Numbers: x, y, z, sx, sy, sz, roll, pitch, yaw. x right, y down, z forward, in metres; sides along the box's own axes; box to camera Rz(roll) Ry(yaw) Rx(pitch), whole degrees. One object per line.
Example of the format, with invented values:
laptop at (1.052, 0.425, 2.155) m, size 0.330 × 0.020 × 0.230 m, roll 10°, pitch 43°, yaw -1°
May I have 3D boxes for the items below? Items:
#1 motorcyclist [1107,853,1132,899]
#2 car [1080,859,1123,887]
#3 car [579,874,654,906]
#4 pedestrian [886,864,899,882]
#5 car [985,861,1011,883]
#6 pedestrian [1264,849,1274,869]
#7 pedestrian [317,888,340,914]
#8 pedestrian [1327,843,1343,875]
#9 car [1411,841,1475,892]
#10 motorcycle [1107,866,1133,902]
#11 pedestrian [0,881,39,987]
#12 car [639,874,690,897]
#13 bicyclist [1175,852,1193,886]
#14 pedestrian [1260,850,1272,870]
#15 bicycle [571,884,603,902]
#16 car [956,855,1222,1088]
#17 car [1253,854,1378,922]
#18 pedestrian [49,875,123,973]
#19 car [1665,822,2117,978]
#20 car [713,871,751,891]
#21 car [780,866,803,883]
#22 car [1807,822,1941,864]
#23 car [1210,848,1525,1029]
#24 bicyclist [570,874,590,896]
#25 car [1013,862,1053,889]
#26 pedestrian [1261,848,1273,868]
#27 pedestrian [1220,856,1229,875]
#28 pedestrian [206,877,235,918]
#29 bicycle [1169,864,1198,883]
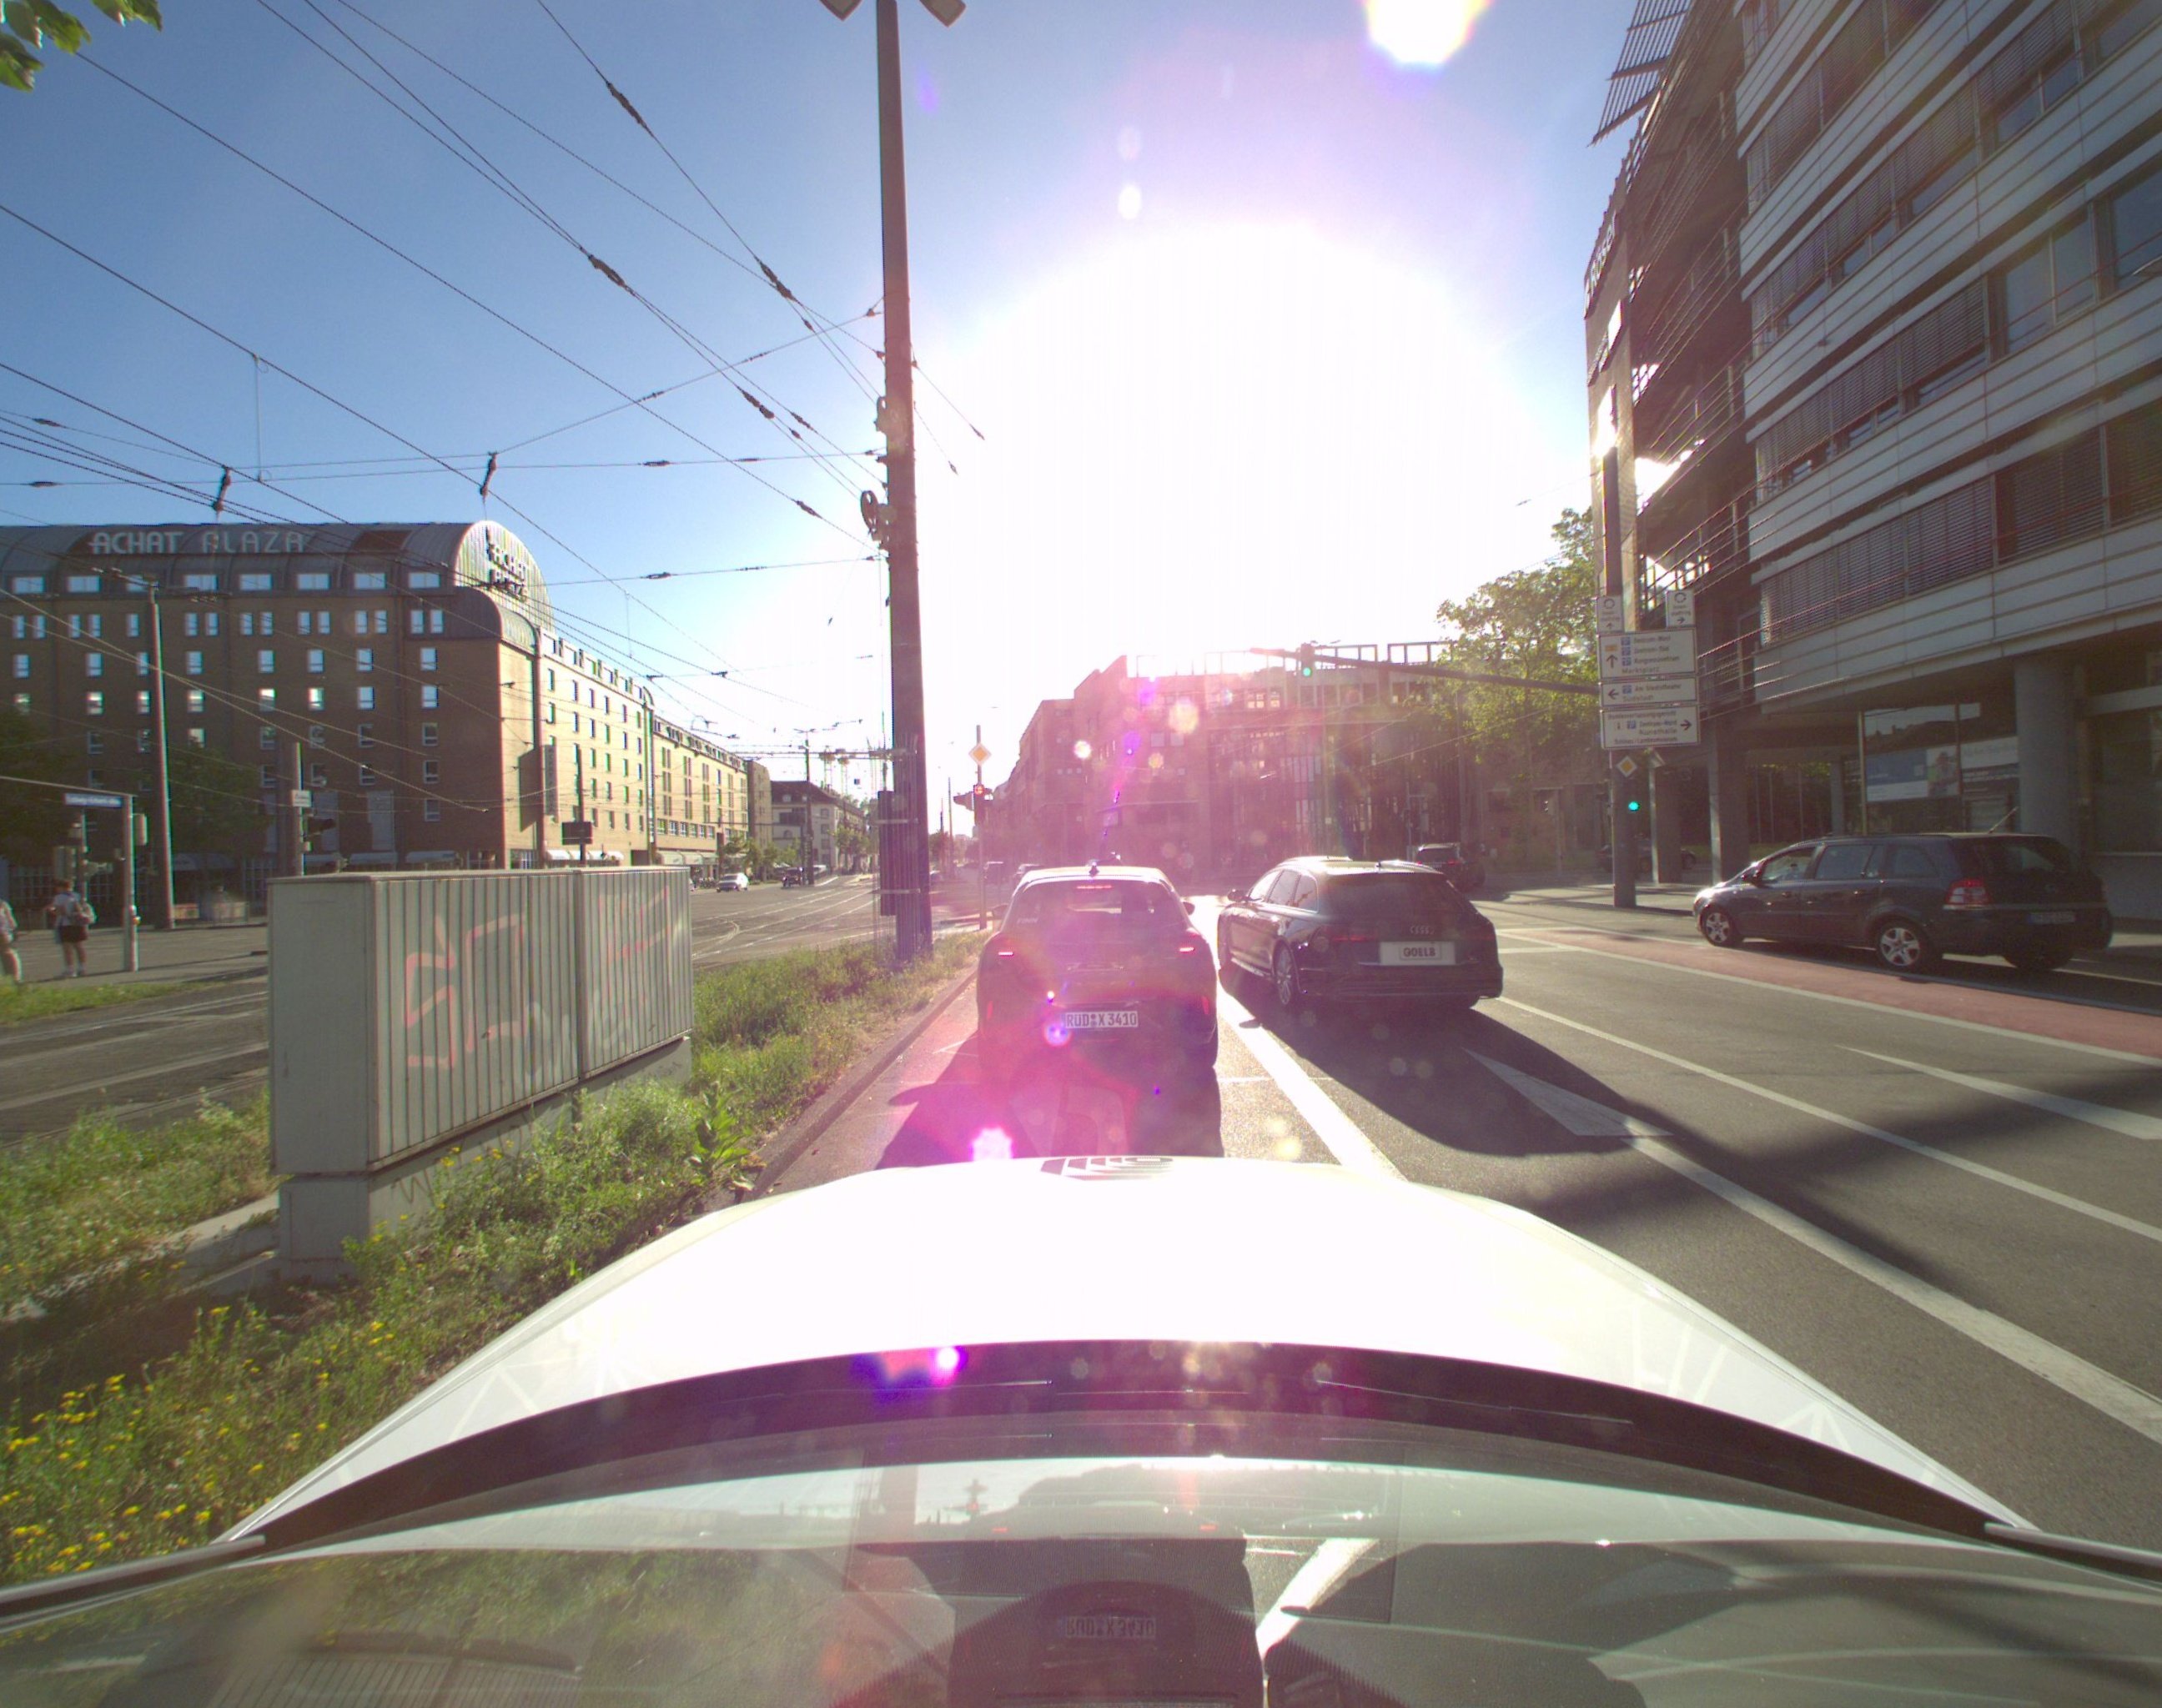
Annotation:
motorcyclist at (1.310, 0.729, 27.679) m, size 0.741 × 1.530 × 1.022 m, roll -2°, pitch 0°, yaw 4°
car at (1.104, 1.027, 45.349) m, size 1.806 × 1.457 × 3.989 m, roll -1°, pitch 0°, yaw -8°
car at (-26.301, 2.008, 46.342) m, size 1.992 × 1.596 × 4.726 m, roll -2°, pitch 0°, yaw -8°
pedestrian at (-17.656, 1.756, 76.267) m, size 0.735 × 1.640 × 0.772 m, roll -2°, pitch -1°, yaw 41°
car at (-6.618, 1.374, 64.495) m, size 1.737 × 1.651 × 3.987 m, roll -2°, pitch 0°, yaw -9°
pedestrian at (15.905, 0.436, 68.743) m, size 0.733 × 1.617 × 0.562 m, roll -2°, pitch 0°, yaw 10°
pedestrian at (-44.605, 2.788, 48.263) m, size 0.674 × 1.503 × 0.659 m, roll -2°, pitch 0°, yaw -1°
pedestrian at (14.145, 0.276, 45.318) m, size 0.700 × 1.759 × 0.564 m, roll -2°, pitch 0°, yaw 27°
car at (13.546, 0.438, 30.709) m, size 1.976 × 1.750 × 4.352 m, roll -2°, pitch 0°, yaw 22°
motorcycle at (1.335, 1.012, 27.880) m, size 0.771 × 1.115 × 1.972 m, roll -2°, pitch 0°, yaw 5°
pedestrian at (-19.302, 1.425, 14.481) m, size 0.630 × 1.830 × 0.662 m, roll -2°, pitch 0°, yaw -5°
car at (-30.044, 2.268, 58.882) m, size 1.719 × 1.422 × 4.139 m, roll -4°, pitch 0°, yaw -4°
bicyclist at (5.538, 0.817, 43.845) m, size 0.579 × 1.791 × 0.857 m, roll -2°, pitch 0°, yaw -21°
pedestrian at (15.271, 0.455, 67.294) m, size 0.894 × 1.617 × 0.562 m, roll -2°, pitch 0°, yaw 10°
bicycle at (-32.956, 2.599, 54.373) m, size 0.649 × 1.085 × 2.920 m, roll -2°, pitch 0°, yaw -6°
car at (0.157, 0.754, 7.164) m, size 1.642 × 1.433 × 4.003 m, roll -2°, pitch 0°, yaw 3°
car at (5.499, 0.734, 19.631) m, size 1.802 × 1.457 × 3.998 m, roll -1°, pitch 0°, yaw -1°
pedestrian at (-19.220, 1.337, 15.749) m, size 0.562 × 1.817 × 0.662 m, roll -2°, pitch 0°, yaw -5°
car at (10.310, 0.501, 10.991) m, size 1.682 × 1.629 × 4.463 m, roll -2°, pitch 0°, yaw 1°
car at (-28.997, 2.206, 67.765) m, size 1.569 × 1.449 × 3.996 m, roll -2°, pitch 0°, yaw -3°
car at (-28.190, 1.990, 79.358) m, size 1.748 × 1.505 × 3.860 m, roll -2°, pitch 0°, yaw -15°
car at (32.670, -0.431, 33.607) m, size 3.981 × 1.651 × 1.861 m, roll -1°, pitch 0°, yaw -6°
car at (2.786, 0.729, 9.136) m, size 1.806 × 1.492 × 4.492 m, roll -1°, pitch -1°, yaw -2°
bicyclist at (-33.060, 2.045, 53.718) m, size 0.756 × 1.375 × 0.949 m, roll -2°, pitch 0°, yaw -6°
car at (-2.685, 1.145, 44.973) m, size 1.737 × 1.349 × 3.986 m, roll -2°, pitch 0°, yaw -10°
pedestrian at (15.549, 0.347, 68.163) m, size 0.894 × 1.617 × 0.562 m, roll -2°, pitch 0°, yaw 10°
pedestrian at (11.181, 0.881, 63.546) m, size 0.527 × 1.430 × 0.598 m, roll -2°, pitch 0°, yaw 1°
pedestrian at (-43.639, 2.183, 41.310) m, size 0.663 × 2.013 × 0.678 m, roll -2°, pitch 0°, yaw 3°
bicycle at (5.534, 1.039, 43.951) m, size 0.493 × 0.997 × 2.311 m, roll -2°, pitch 0°, yaw -21°
